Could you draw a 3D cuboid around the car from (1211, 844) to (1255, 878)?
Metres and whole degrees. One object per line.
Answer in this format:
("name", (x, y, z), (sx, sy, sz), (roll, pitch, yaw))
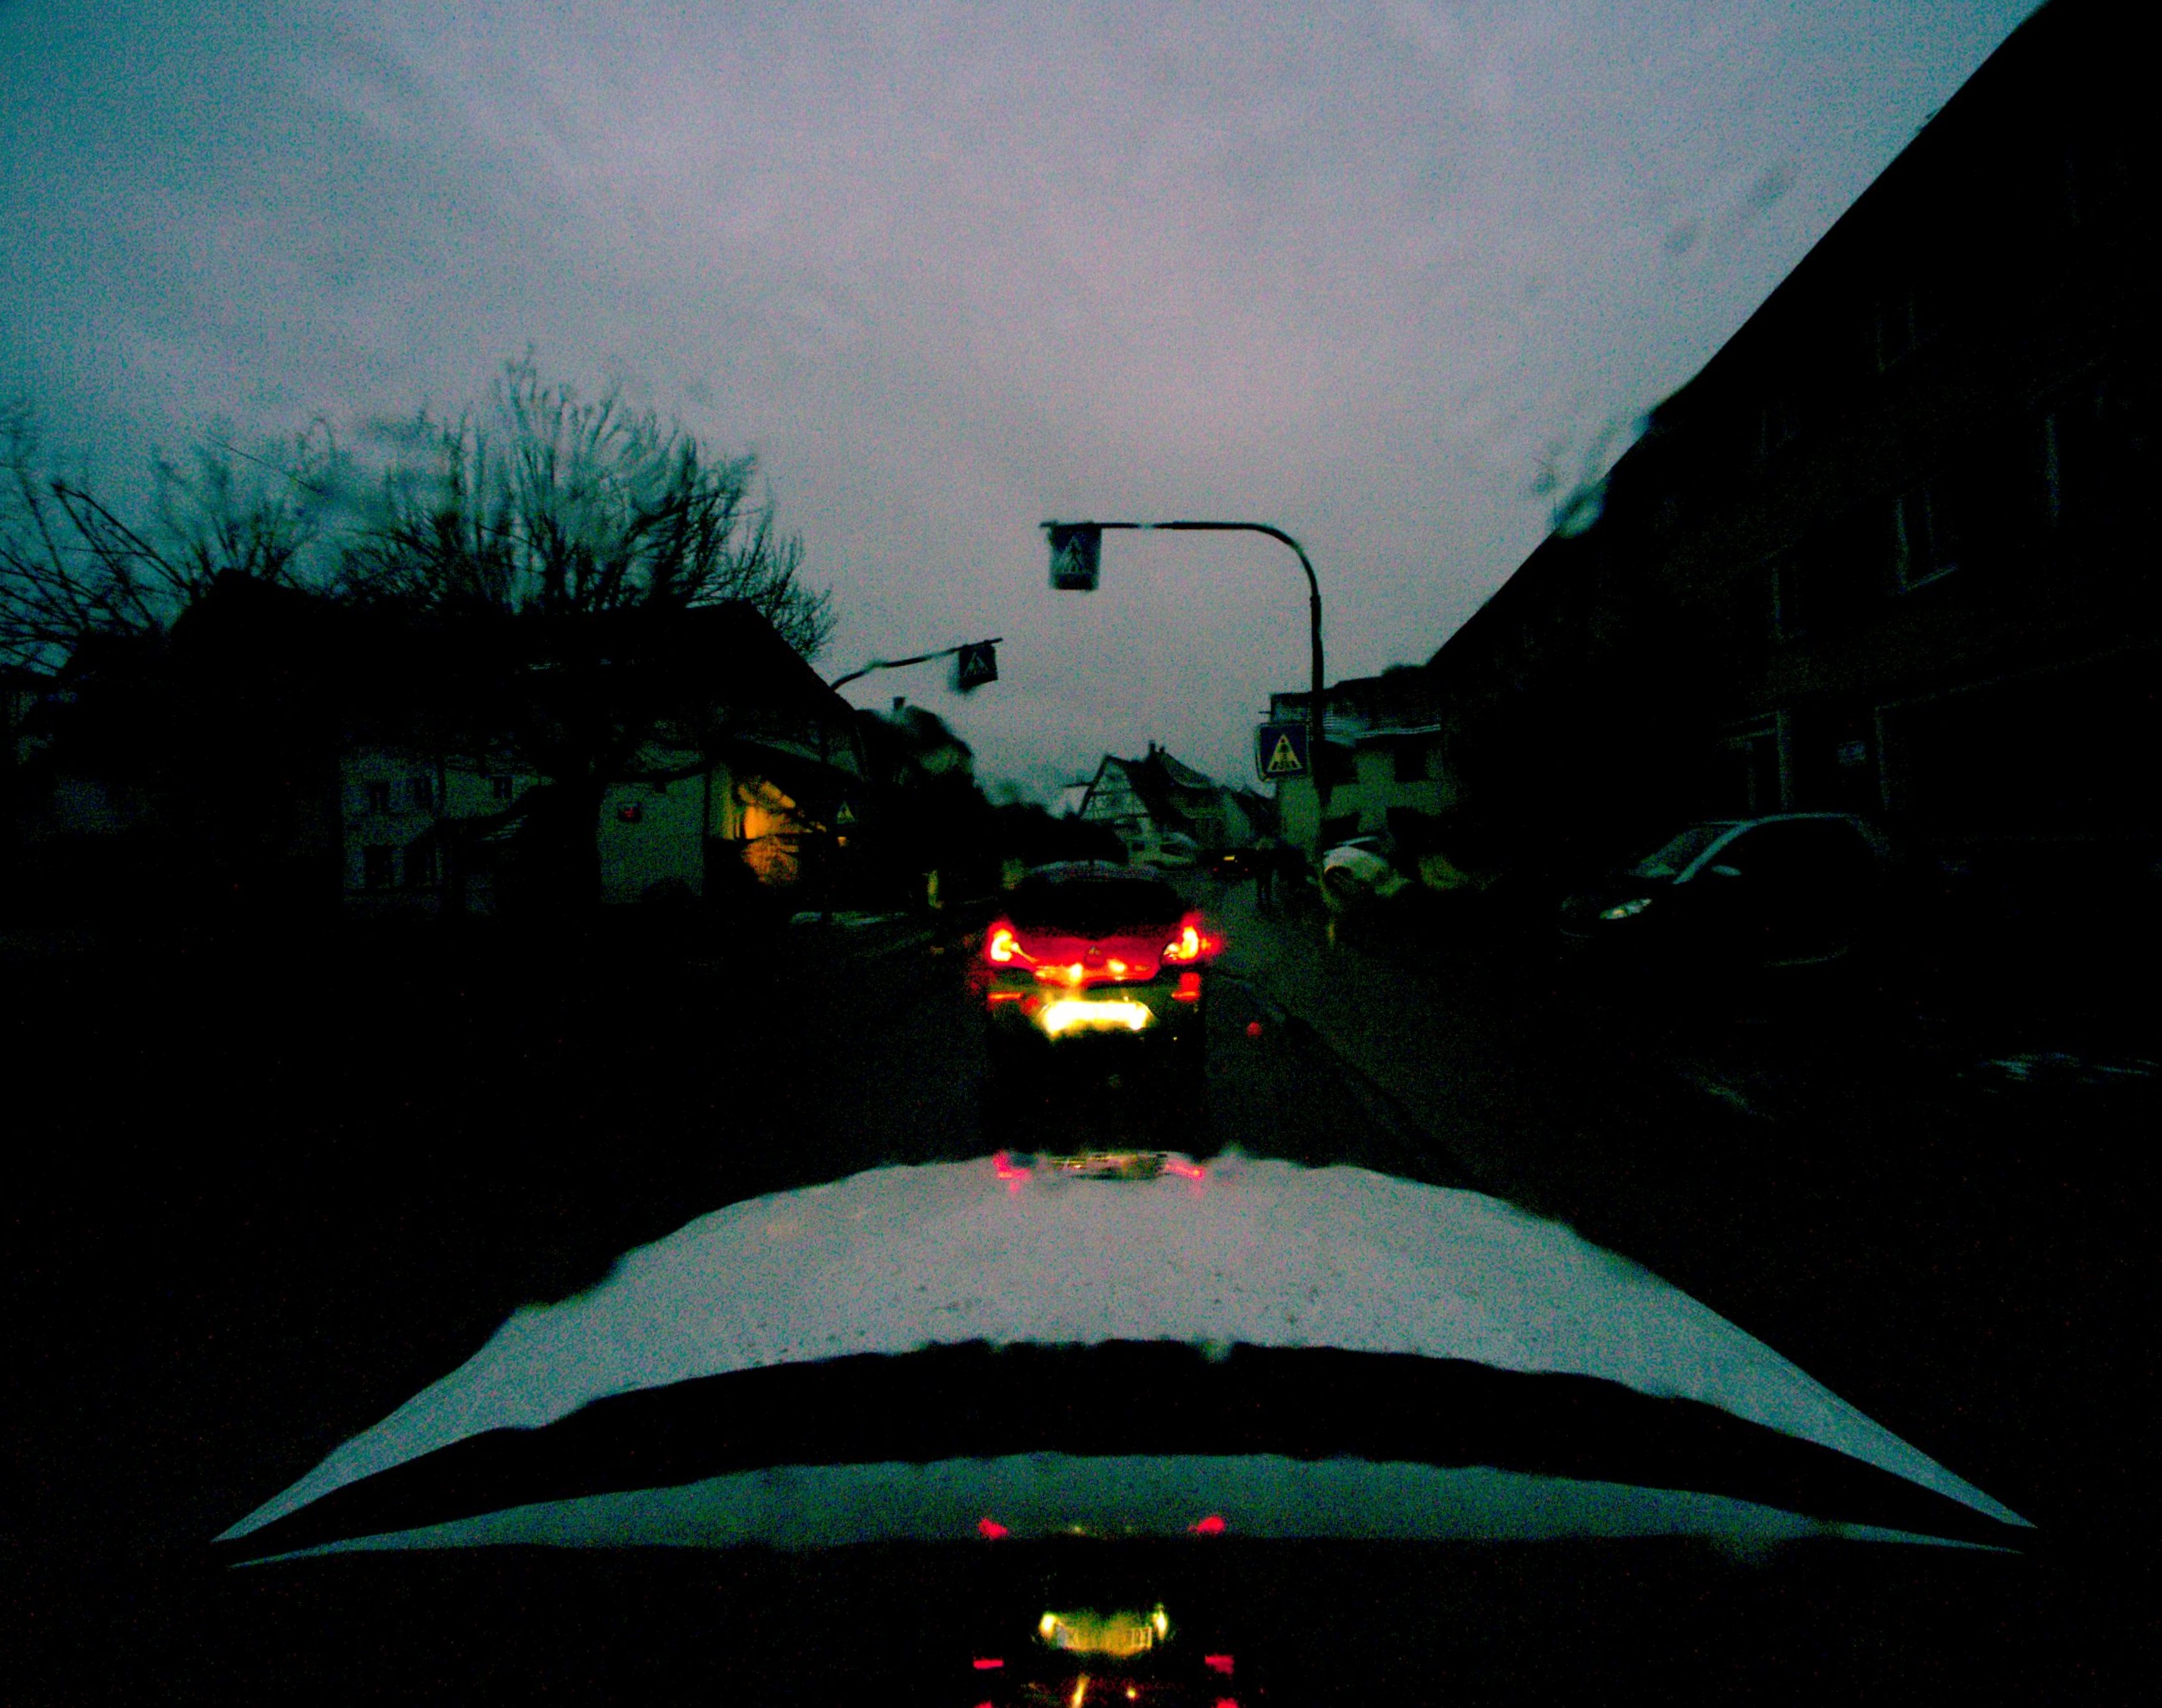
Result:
("car", (7.996, 0.325, 42.528), (1.833, 1.637, 4.354), (-1, 0, 16))

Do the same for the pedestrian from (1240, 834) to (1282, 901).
("pedestrian", (4.755, 0.340, 21.454), (0.860, 1.666, 0.996), (-5, -1, 16))

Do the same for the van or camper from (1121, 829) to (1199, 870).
("van or camper", (6.813, -0.339, 70.148), (6.006, 2.955, 2.420), (-6, -1, 24))

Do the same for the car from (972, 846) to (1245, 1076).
("car", (0.107, 0.692, 7.408), (1.791, 1.476, 3.996), (-1, 0, -3))

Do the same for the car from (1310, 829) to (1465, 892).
("car", (8.658, 0.184, 23.321), (3.874, 1.474, 1.756), (-4, 0, 11))

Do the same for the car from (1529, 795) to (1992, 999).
("car", (5.761, 0.363, 7.216), (2.747, 1.474, 1.430), (-4, 0, 9))

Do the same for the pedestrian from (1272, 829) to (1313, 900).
("pedestrian", (5.514, 0.256, 21.196), (0.842, 1.733, 0.976), (-5, -1, 16))

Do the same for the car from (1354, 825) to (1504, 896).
("car", (8.416, 0.167, 19.932), (3.044, 1.474, 1.554), (-4, 0, 11))

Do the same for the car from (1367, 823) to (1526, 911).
("car", (7.348, 0.250, 16.580), (2.568, 1.547, 1.555), (-4, 0, 8))

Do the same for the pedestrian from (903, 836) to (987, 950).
("pedestrian", (-2.201, 0.615, 13.291), (0.873, 1.735, 0.960), (-5, -1, 16))
